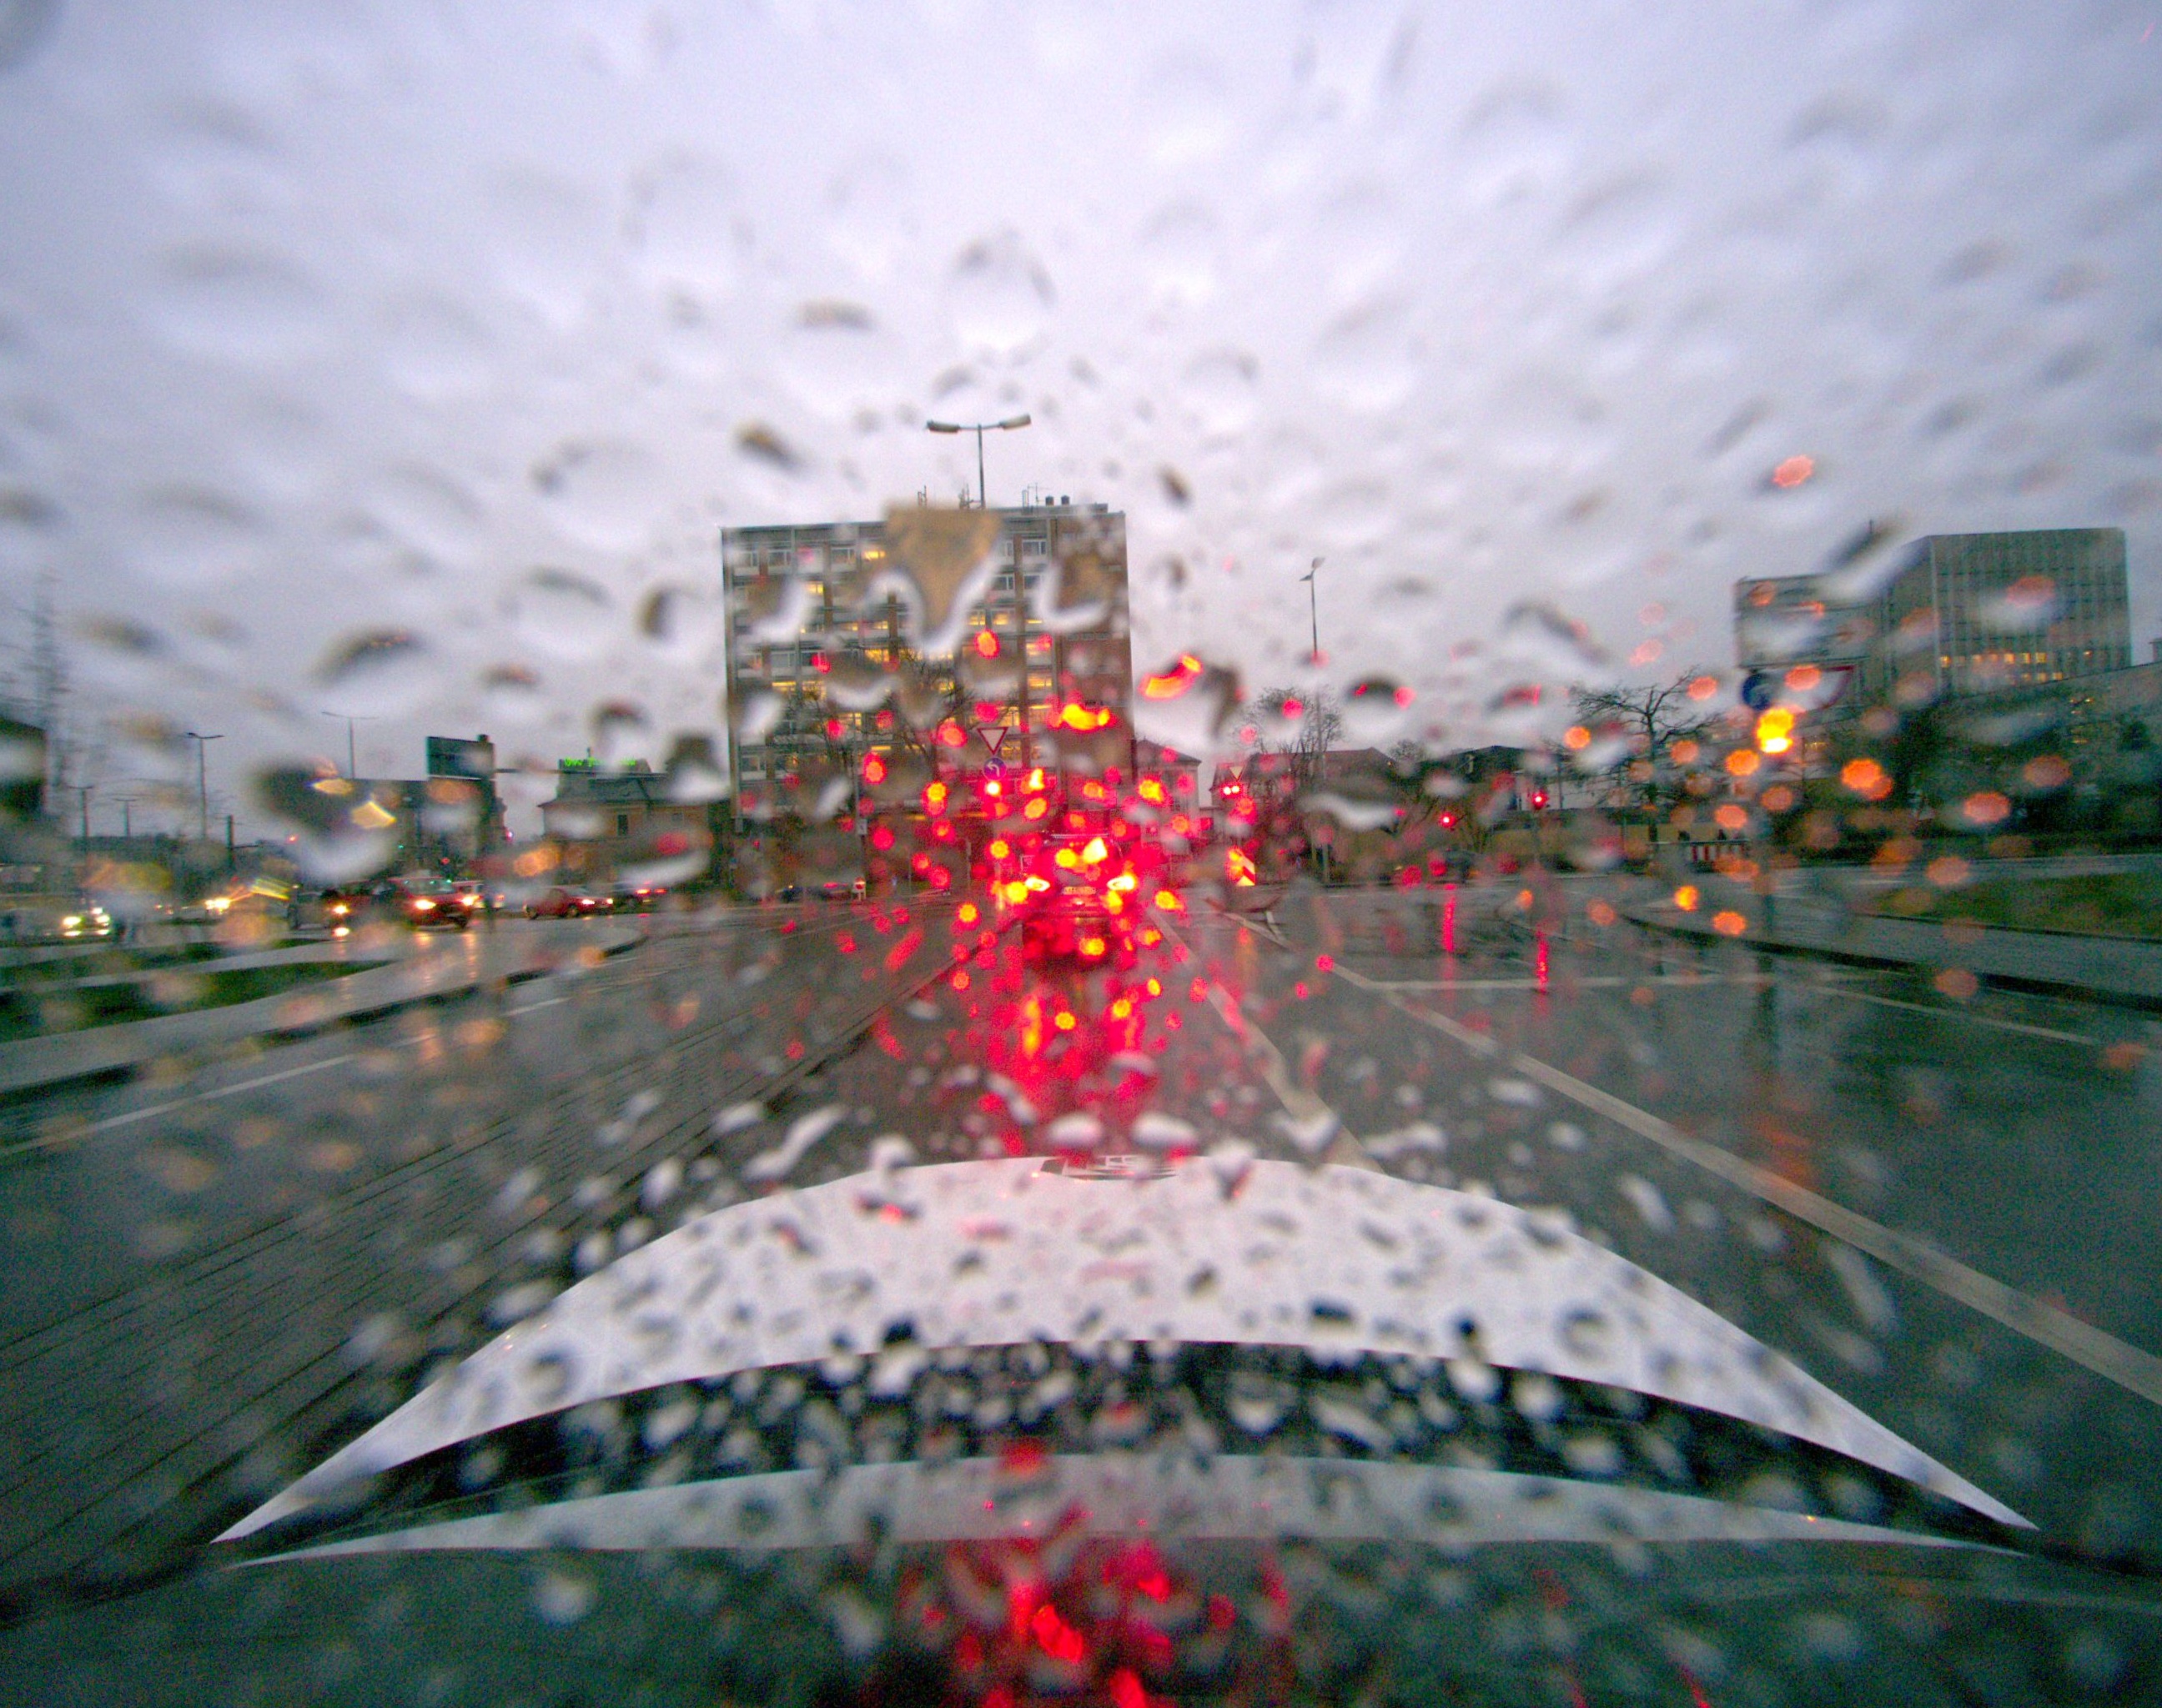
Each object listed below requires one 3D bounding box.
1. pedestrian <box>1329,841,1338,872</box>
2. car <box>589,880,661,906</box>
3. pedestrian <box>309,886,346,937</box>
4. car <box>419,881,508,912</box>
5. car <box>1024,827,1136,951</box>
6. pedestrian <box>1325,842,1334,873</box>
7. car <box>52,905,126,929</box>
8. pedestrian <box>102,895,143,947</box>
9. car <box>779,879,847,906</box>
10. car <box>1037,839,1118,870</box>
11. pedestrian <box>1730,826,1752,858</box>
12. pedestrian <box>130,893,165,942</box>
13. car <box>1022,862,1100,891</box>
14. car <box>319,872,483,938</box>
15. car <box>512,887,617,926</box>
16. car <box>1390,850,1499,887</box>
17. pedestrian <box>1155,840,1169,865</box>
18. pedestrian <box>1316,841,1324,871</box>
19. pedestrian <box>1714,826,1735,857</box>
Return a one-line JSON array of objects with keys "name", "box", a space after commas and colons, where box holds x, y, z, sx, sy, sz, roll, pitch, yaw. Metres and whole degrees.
[{"name": "pedestrian", "box": [15.208, 0.169, 49.030, 0.434, 1.839, 0.462, -2, -2, 20]}, {"name": "car", "box": [-27.600, 2.378, 49.315, 3.885, 1.486, 1.475, -1, -2, 16]}, {"name": "pedestrian", "box": [-26.118, 1.982, 28.218, 0.456, 1.697, 0.801, -2, -2, 25]}, {"name": "car", "box": [-40.954, 2.797, 54.017, 5.114, 1.913, 2.008, -1, 0, 17]}, {"name": "car", "box": [0.037, 0.508, 14.151, 1.641, 1.819, 4.001, -1, 0, 1]}, {"name": "pedestrian", "box": [14.683, 0.218, 48.103, 0.454, 1.839, 0.441, -2, -2, 19]}, {"name": "car", "box": [-64.505, 4.116, 52.981, 3.611, 1.447, 1.610, -1, -2, 13]}, {"name": "pedestrian", "box": [-34.421, 2.384, 29.254, 0.687, 1.815, 0.683, -1, -2, 15]}, {"name": "car", "box": [-15.138, 2.168, 45.980, 3.384, 1.398, 1.475, -1, -2, 16]}, {"name": "car", "box": [-0.241, 0.052, 58.197, 5.517, 2.024, 2.004, -1, -2, 7]}, {"name": "pedestrian", "box": [37.189, -0.672, 45.916, 0.620, 1.725, 0.762, -1, -2, 8]}, {"name": "pedestrian", "box": [-34.253, 2.319, 29.882, 0.605, 1.772, 0.587, -1, -2, 15]}, {"name": "car", "box": [-1.029, 1.166, 42.189, 3.763, 1.398, 1.570, -1, -2, 13]}, {"name": "car", "box": [-25.088, 1.847, 30.083, 4.981, 2.282, 2.268, -1, -2, 18]}, {"name": "car", "box": [-24.006, 2.430, 37.890, 4.041, 1.684, 1.766, -1, -2, 14]}, {"name": "car", "box": [17.076, 0.704, 38.462, 4.401, 1.580, 1.975, -1, -2, 14]}, {"name": "pedestrian", "box": [5.643, -0.095, 56.725, 0.688, 1.661, 0.671, 0, -2, -28]}, {"name": "pedestrian", "box": [14.440, 0.129, 49.222, 0.434, 1.839, 0.462, -2, -2, 19]}, {"name": "pedestrian", "box": [37.389, -0.711, 47.350, 0.620, 1.725, 0.762, -1, -2, 8]}]
